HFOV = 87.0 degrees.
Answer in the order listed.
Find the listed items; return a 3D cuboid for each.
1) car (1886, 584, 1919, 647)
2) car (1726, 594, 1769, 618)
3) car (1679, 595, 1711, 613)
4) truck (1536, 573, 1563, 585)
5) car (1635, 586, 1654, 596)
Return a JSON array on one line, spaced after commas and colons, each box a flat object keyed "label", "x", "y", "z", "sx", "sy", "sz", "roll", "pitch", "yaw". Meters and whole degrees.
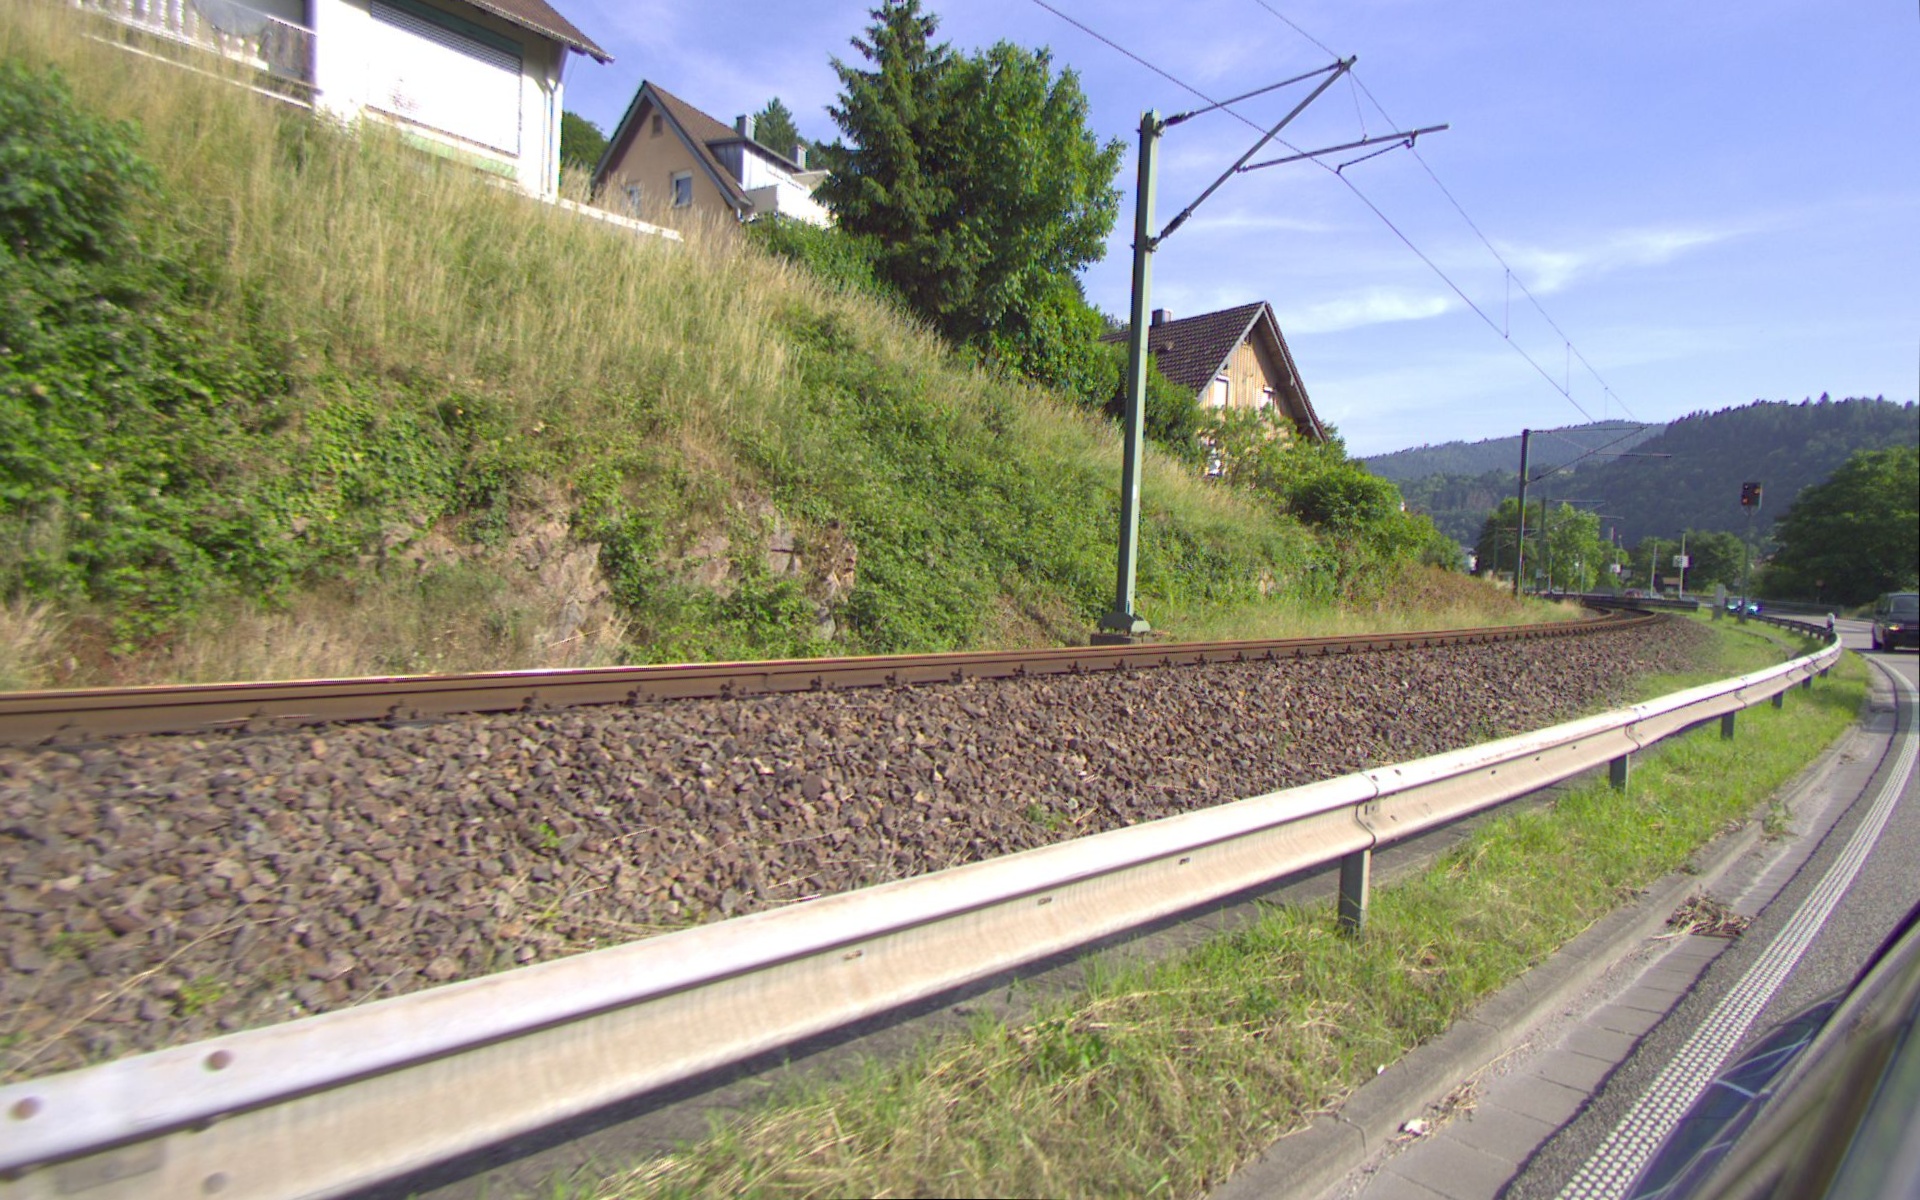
[{"label": "car", "x": 31.329, "y": 0.461, "z": 32.606, "sx": 2.011, "sy": 1.940, "sz": 4.249, "roll": 0, "pitch": 0, "yaw": 40}, {"label": "car", "x": 59.755, "y": 0.420, "z": 76.808, "sx": 1.869, "sy": 1.767, "sz": 4.137, "roll": 1, "pitch": 1, "yaw": 28}, {"label": "car", "x": 73.476, "y": 0.367, "z": 101.213, "sx": 1.868, "sy": 1.767, "sz": 4.140, "roll": 1, "pitch": 1, "yaw": 26}, {"label": "truck", "x": 112.941, "y": -4.057, "z": 193.993, "sx": 1.848, "sy": 2.314, "sz": 4.727, "roll": 1, "pitch": 1, "yaw": -8}, {"label": "car", "x": 100.942, "y": -1.360, "z": 149.213, "sx": 1.621, "sy": 1.366, "sz": 4.075, "roll": 0, "pitch": 1, "yaw": 24}]
